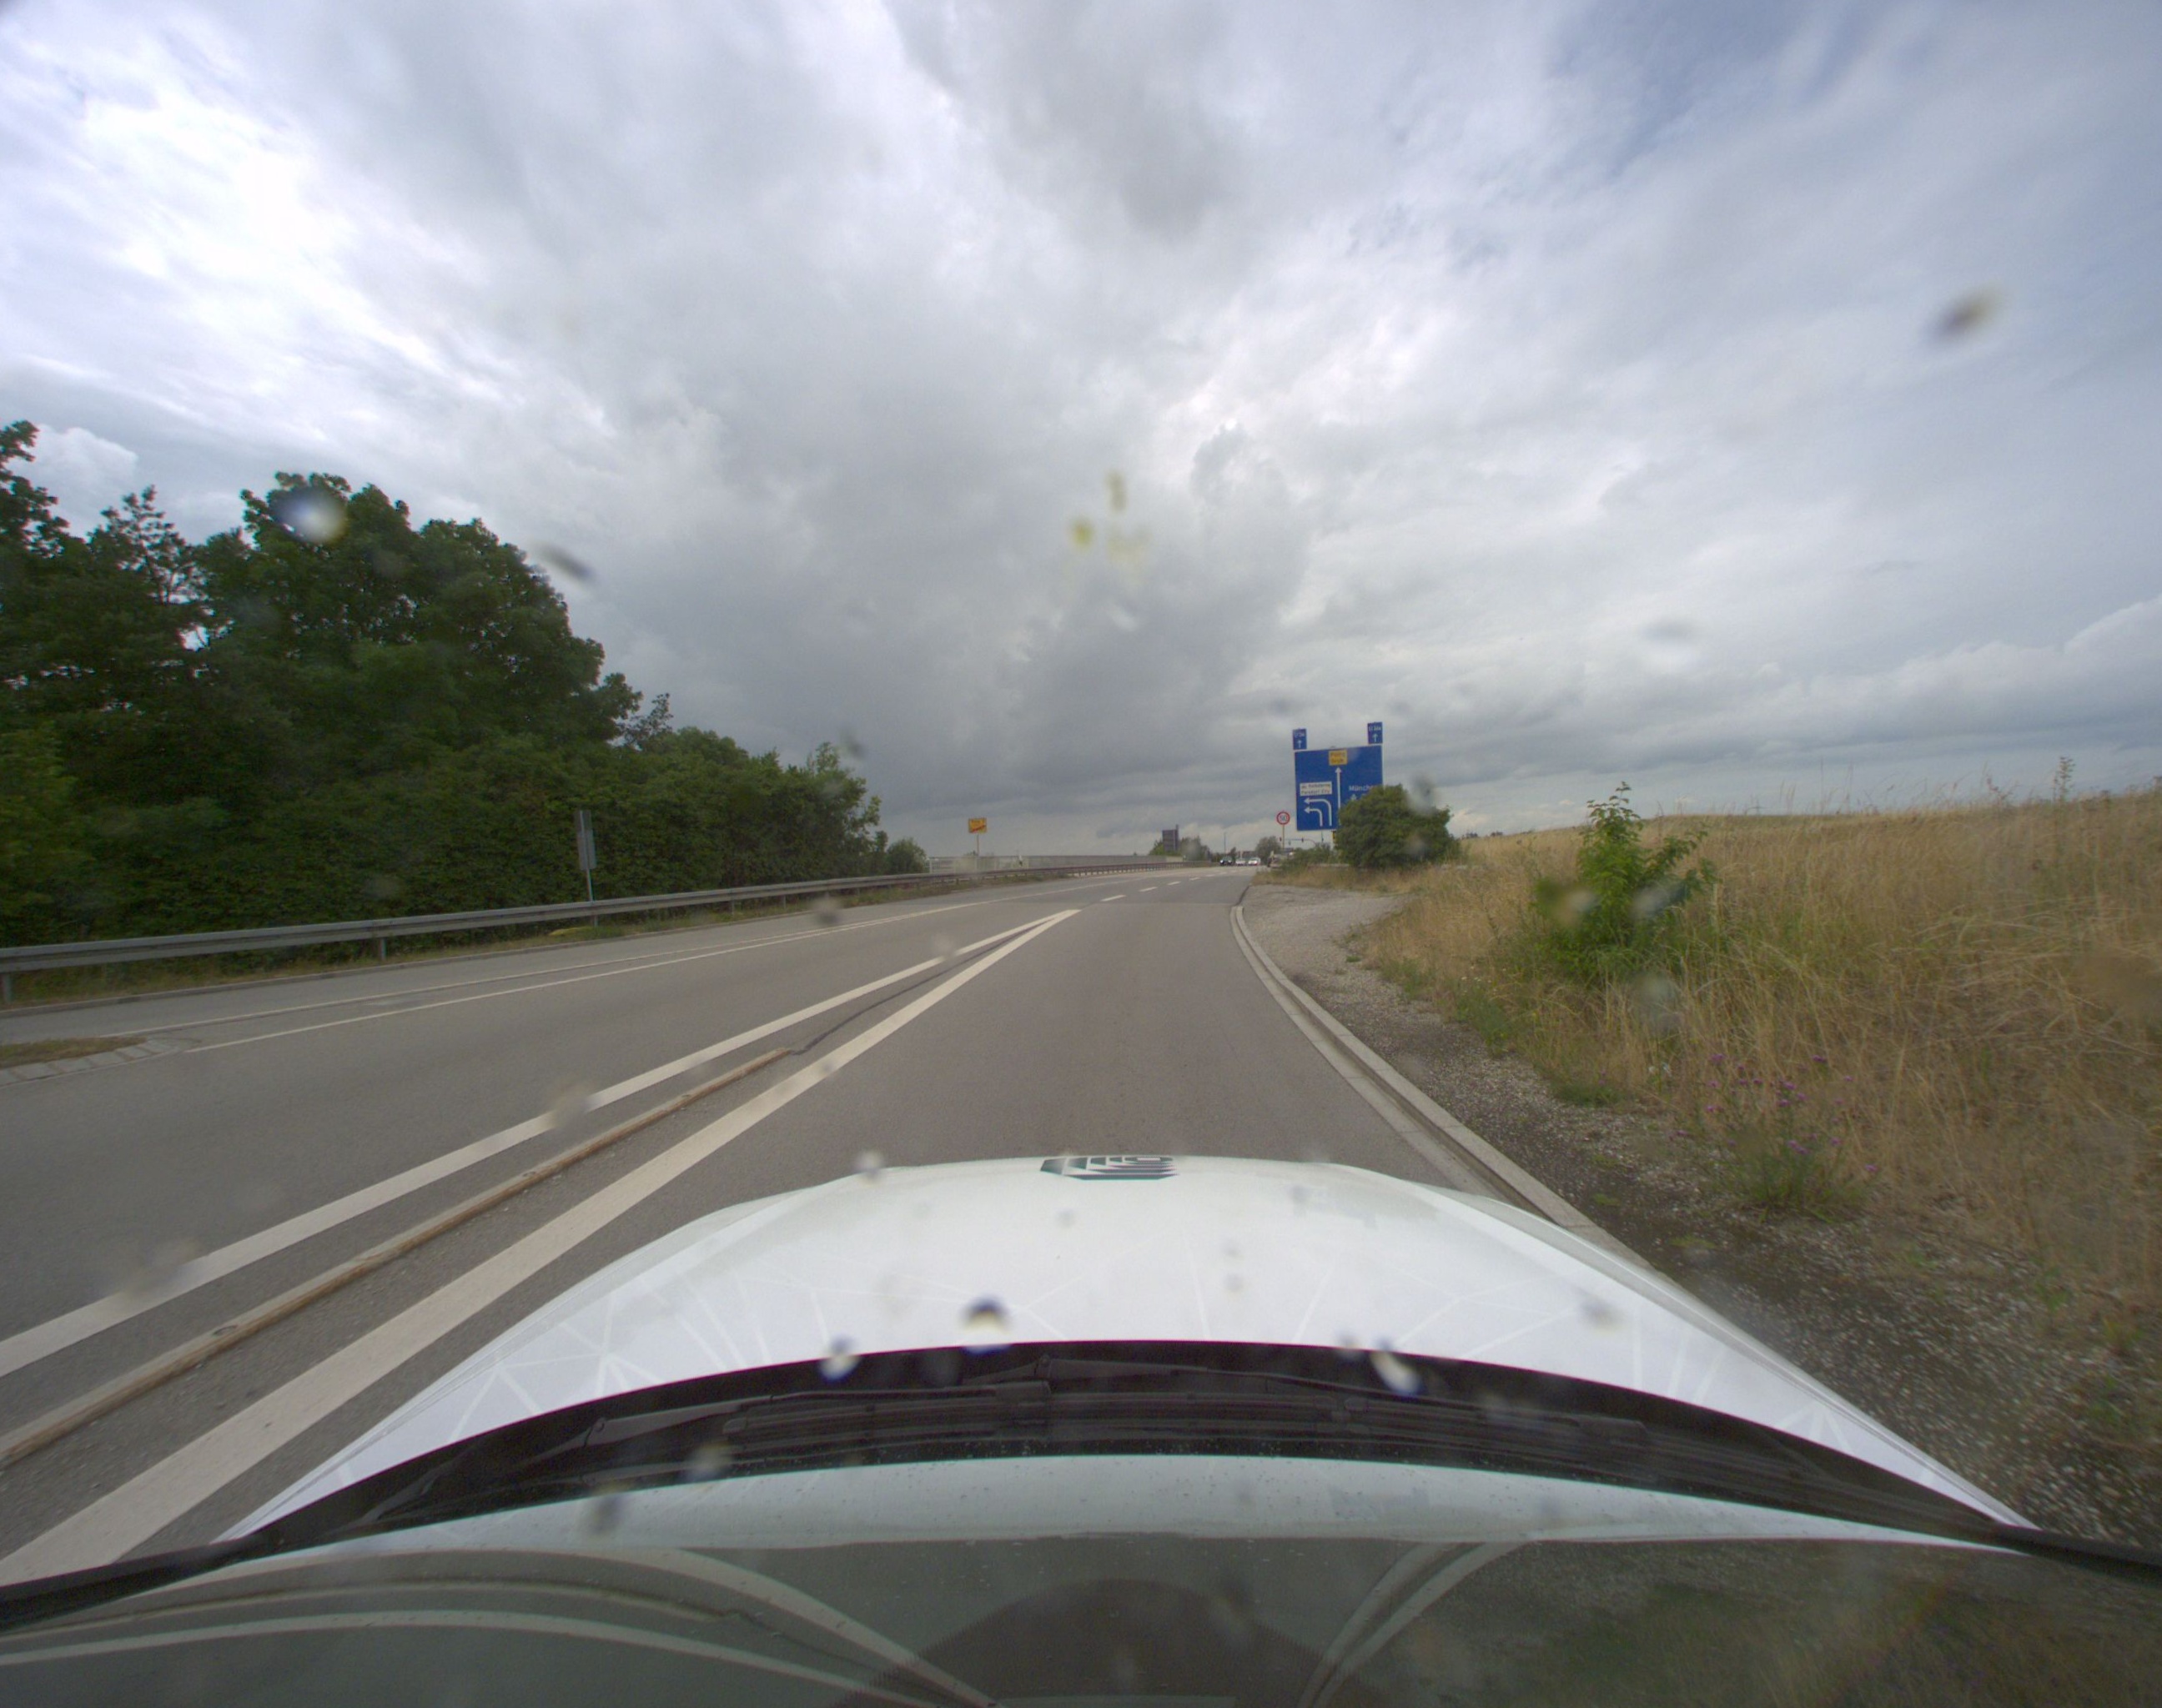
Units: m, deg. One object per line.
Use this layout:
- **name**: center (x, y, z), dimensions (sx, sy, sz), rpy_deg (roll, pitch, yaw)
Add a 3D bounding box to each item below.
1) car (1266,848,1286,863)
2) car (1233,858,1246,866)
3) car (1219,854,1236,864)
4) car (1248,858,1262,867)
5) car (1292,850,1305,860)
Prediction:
- **car**: center (20.262, 0.192, 84.641), dimensions (1.505, 1.485, 3.634), rpy_deg (-2, -1, 21)
- **car**: center (31.262, 1.577, 160.849), dimensions (1.697, 1.486, 4.303), rpy_deg (3, 1, 23)
- **car**: center (26.463, 0.883, 147.050), dimensions (1.976, 1.732, 4.786), rpy_deg (-2, -2, 21)
- **car**: center (37.709, 1.850, 176.172), dimensions (1.936, 1.874, 4.847), rpy_deg (3, 1, 23)
- **car**: center (34.895, 0.186, 130.452), dimensions (1.667, 1.544, 3.634), rpy_deg (-2, -1, 21)
